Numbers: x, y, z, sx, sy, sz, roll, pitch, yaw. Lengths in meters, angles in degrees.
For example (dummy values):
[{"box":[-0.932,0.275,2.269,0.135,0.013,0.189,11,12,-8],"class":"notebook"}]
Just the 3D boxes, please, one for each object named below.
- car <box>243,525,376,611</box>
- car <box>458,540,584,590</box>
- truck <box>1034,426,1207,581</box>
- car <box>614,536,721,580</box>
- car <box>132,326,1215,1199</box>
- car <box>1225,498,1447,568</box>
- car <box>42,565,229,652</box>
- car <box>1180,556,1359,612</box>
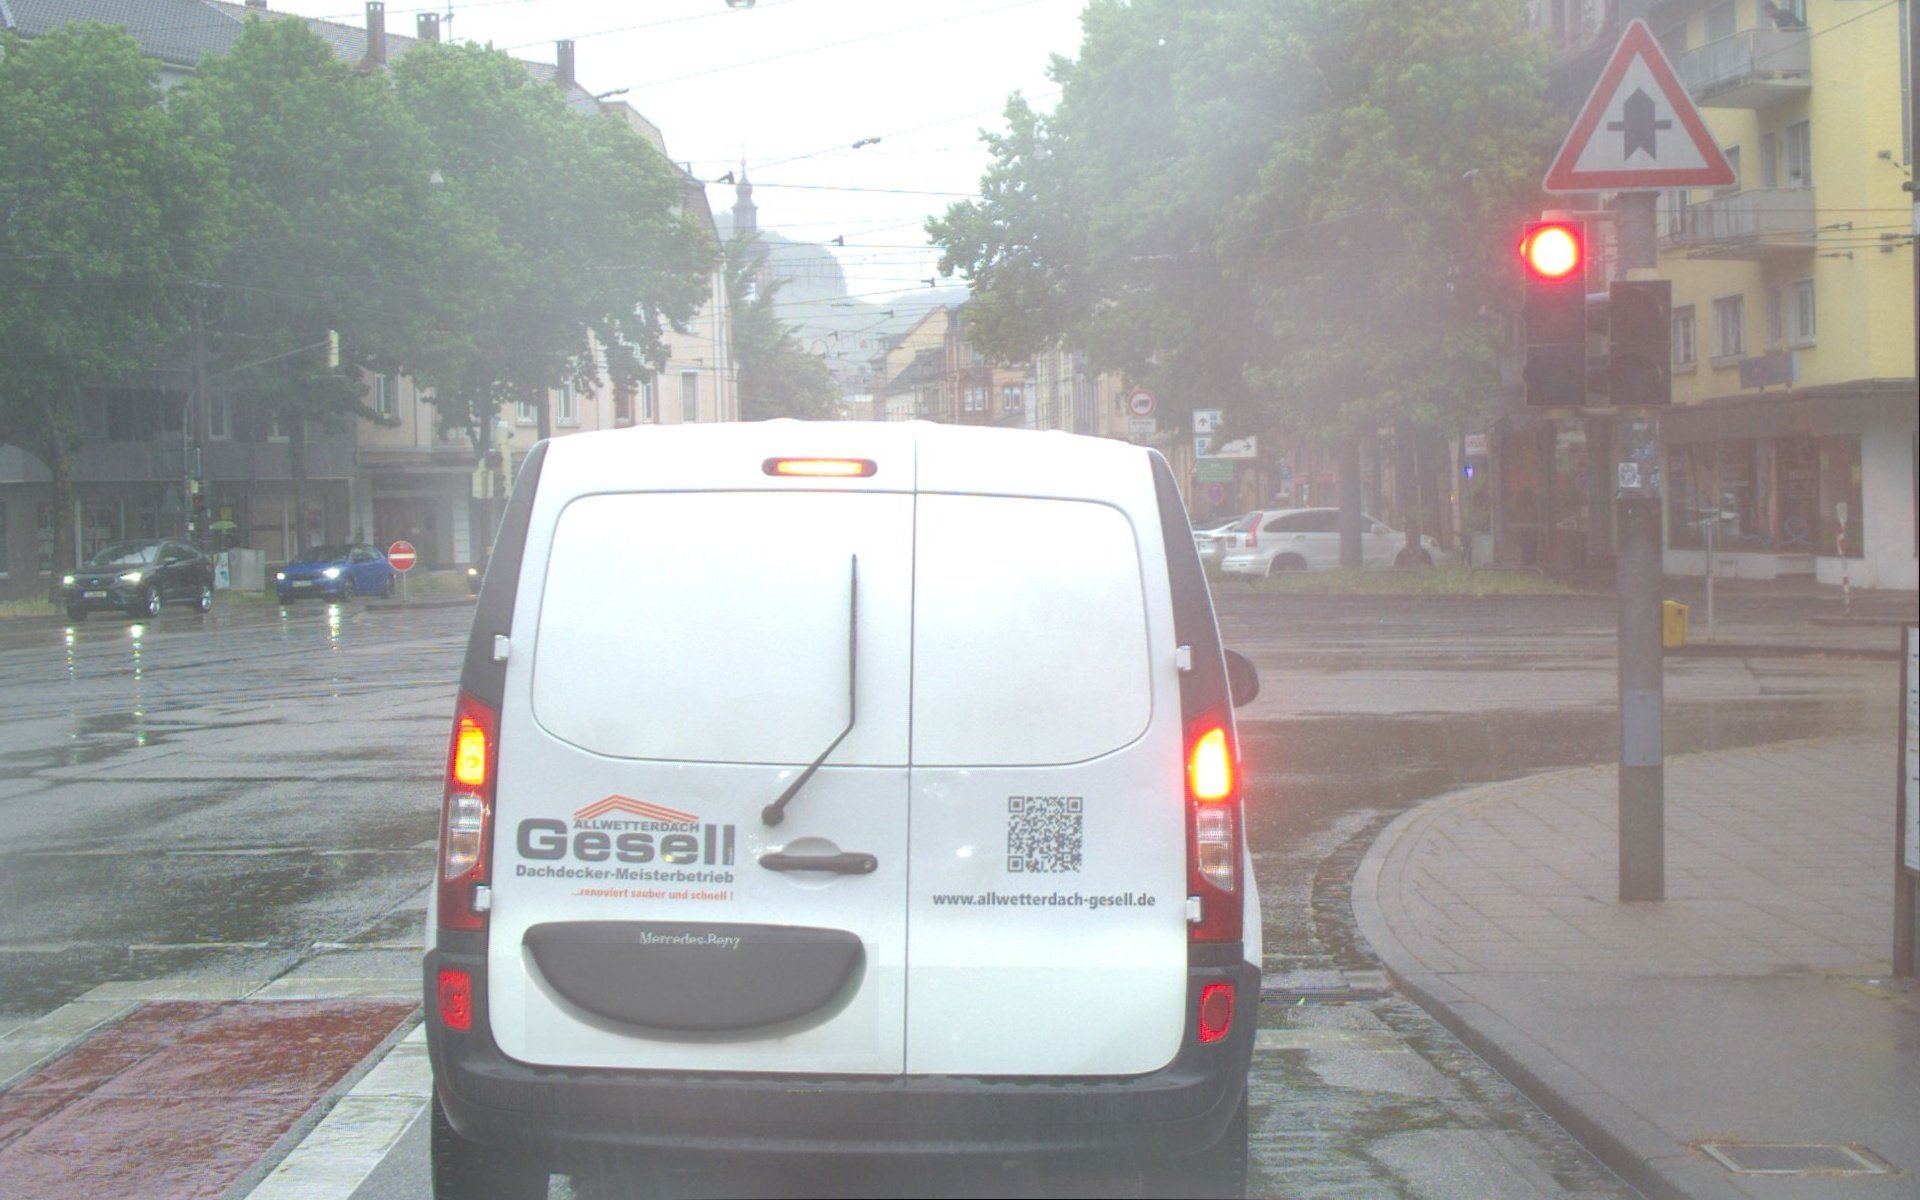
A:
[{"box":[-15.597,-0.791,82.631,1.994,2.007,3.999,0,1,8],"class":"car"},{"box":[-11.863,-0.956,93.181,1.952,1.235,3.997,0,2,16],"class":"car"},{"box":[5.767,-3.260,120.071,3.471,5.070,15.299,0,1,12],"class":"truck"},{"box":[-8.964,-1.298,105.580,1.952,1.235,3.997,0,2,16],"class":"car"},{"box":[-0.584,0.449,9.189,2.100,2.005,4.963,0,1,-1],"class":"car"},{"box":[7.525,-1.348,68.964,4.165,1.334,1.521,-1,2,-7],"class":"car"},{"box":[-16.743,0.143,70.027,1.952,1.602,3.997,0,2,16],"class":"car"},{"box":[6.369,-0.336,70.875,3.441,1.126,1.472,0,1,-8],"class":"car"}]
